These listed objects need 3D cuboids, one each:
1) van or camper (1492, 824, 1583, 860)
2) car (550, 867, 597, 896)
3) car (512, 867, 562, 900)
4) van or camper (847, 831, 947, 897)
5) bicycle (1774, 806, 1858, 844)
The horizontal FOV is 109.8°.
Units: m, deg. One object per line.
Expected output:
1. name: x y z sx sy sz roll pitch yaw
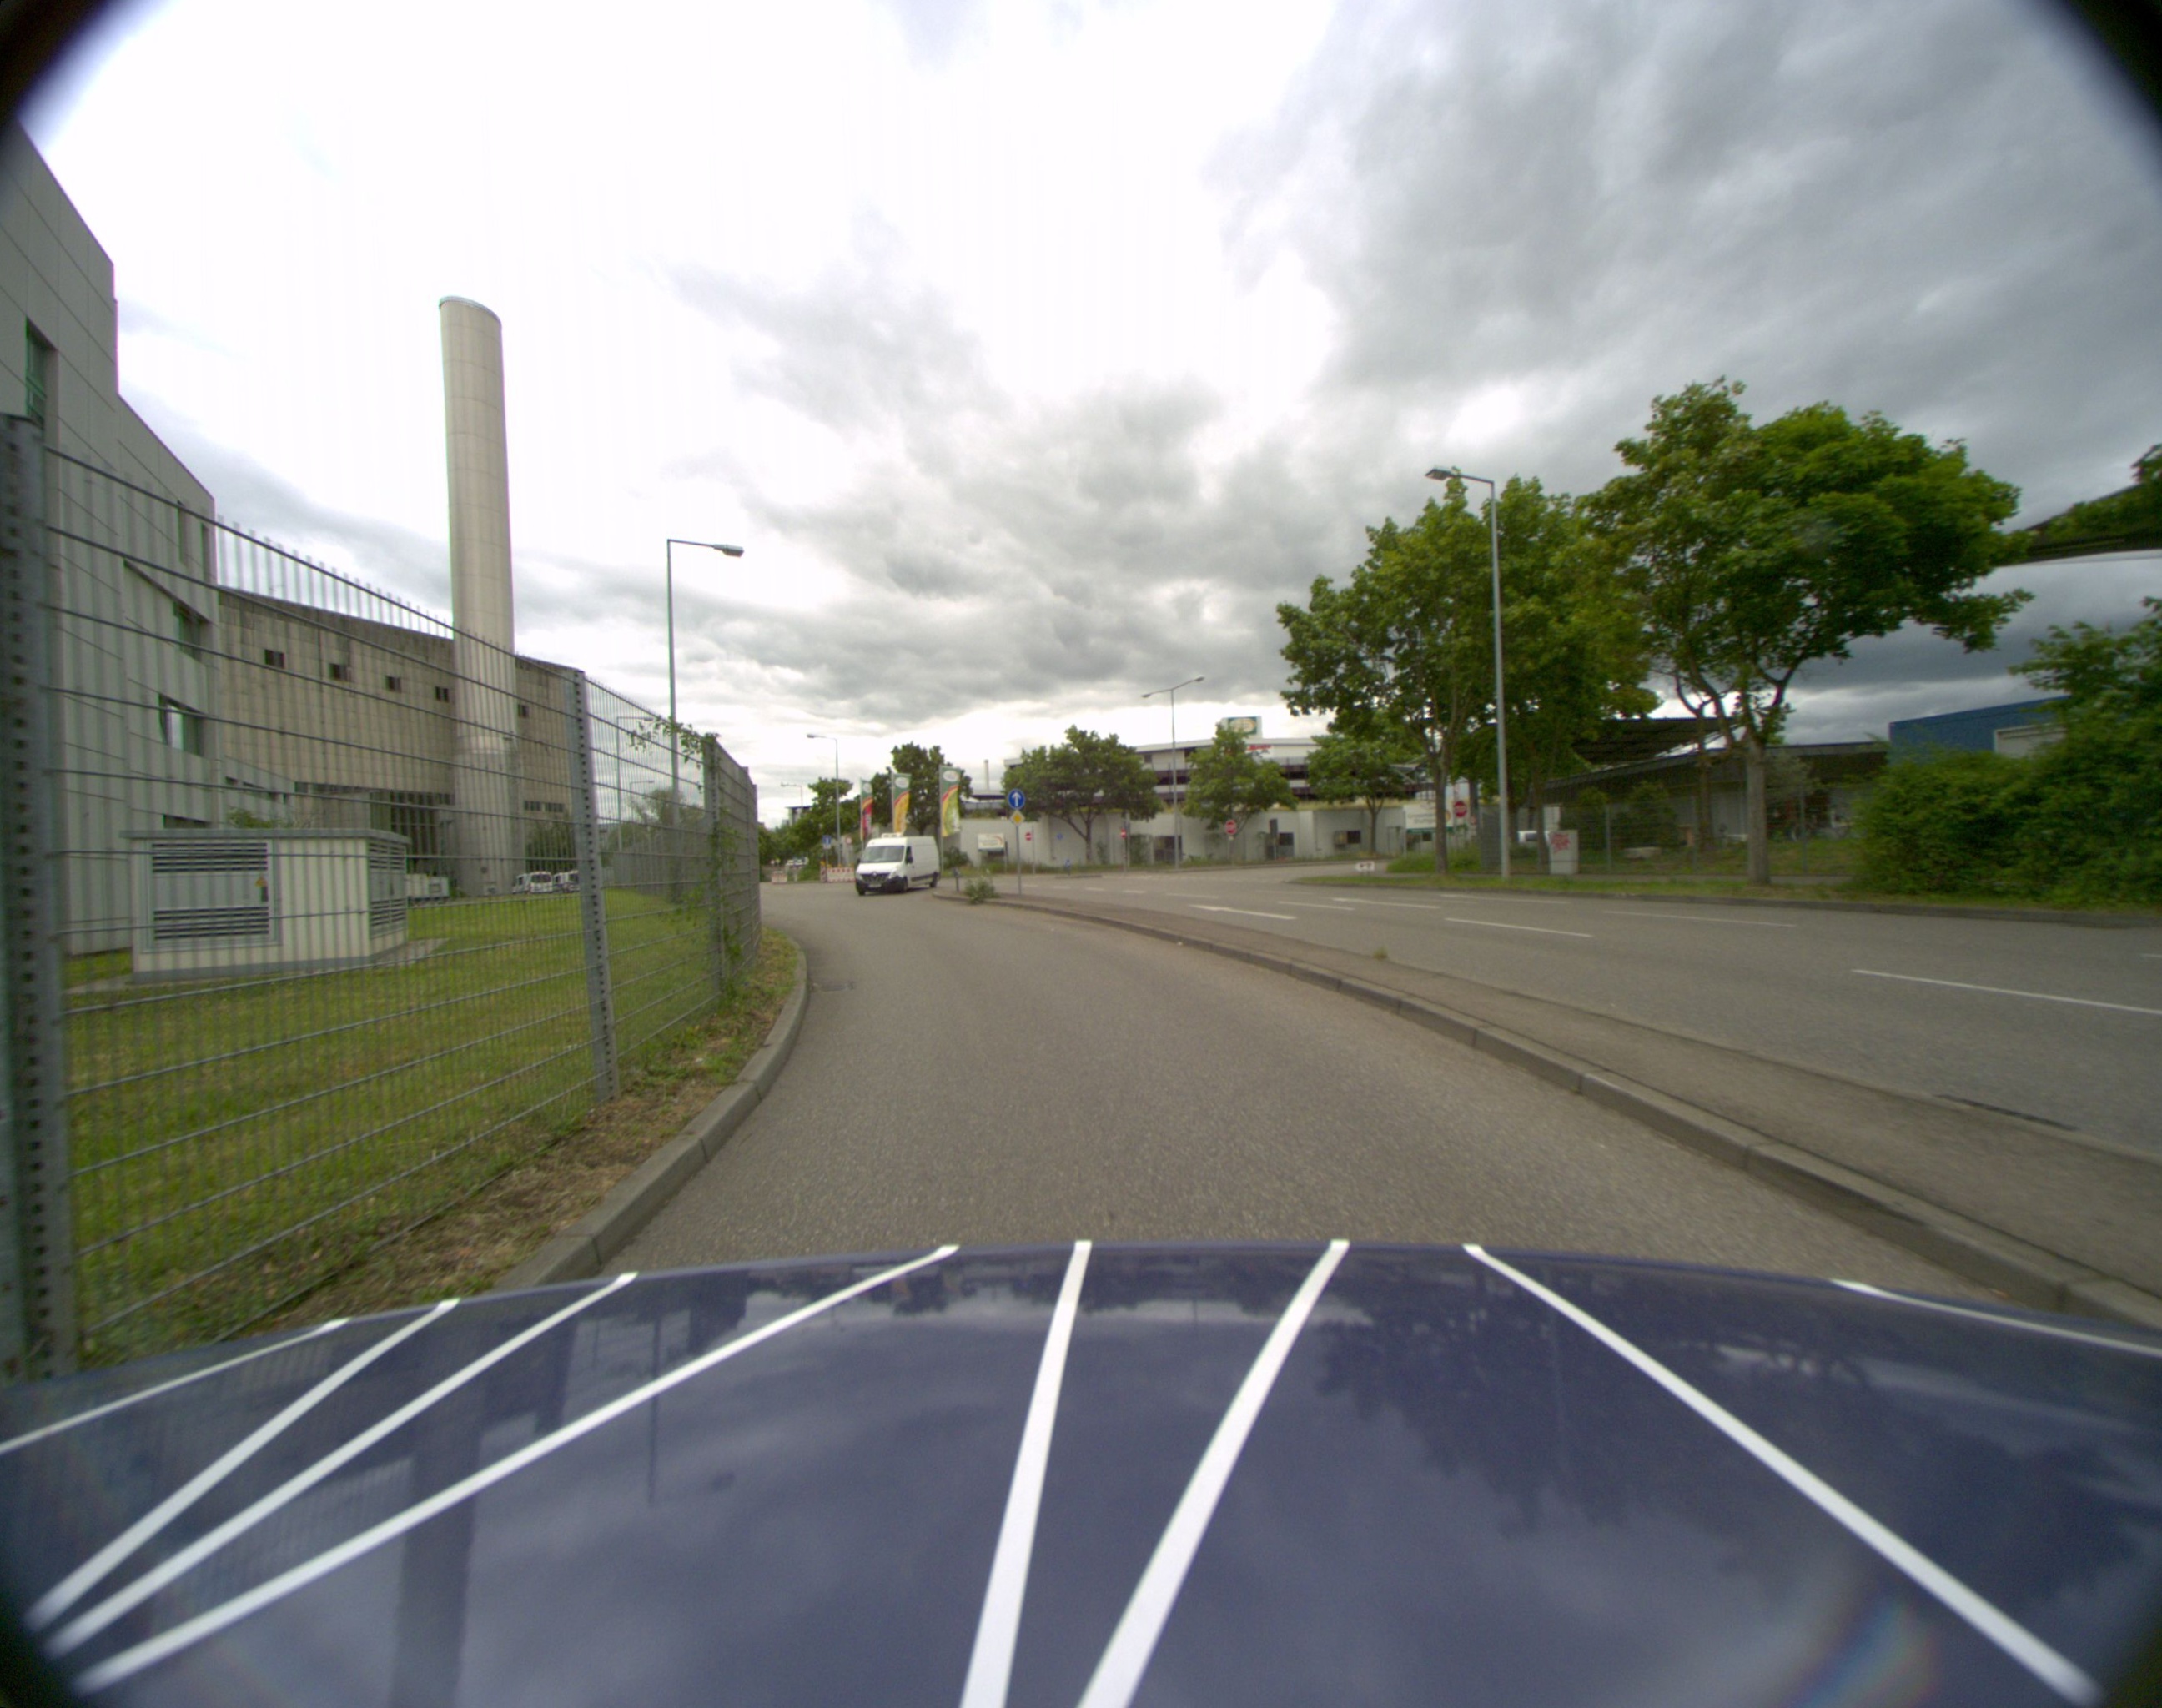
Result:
1. van or camper: 27.747 -0.737 46.329 4.269 1.952 1.960 -2 1 12
2. car: -50.412 2.763 75.456 5.178 2.532 2.243 -6 -1 39
3. car: -52.082 2.825 72.693 5.441 2.745 2.432 -6 -1 39
4. van or camper: -7.977 0.372 33.702 2.270 2.542 6.110 -3 0 6
5. bicycle: 20.900 -0.801 21.662 0.663 0.969 1.761 -2 0 0
